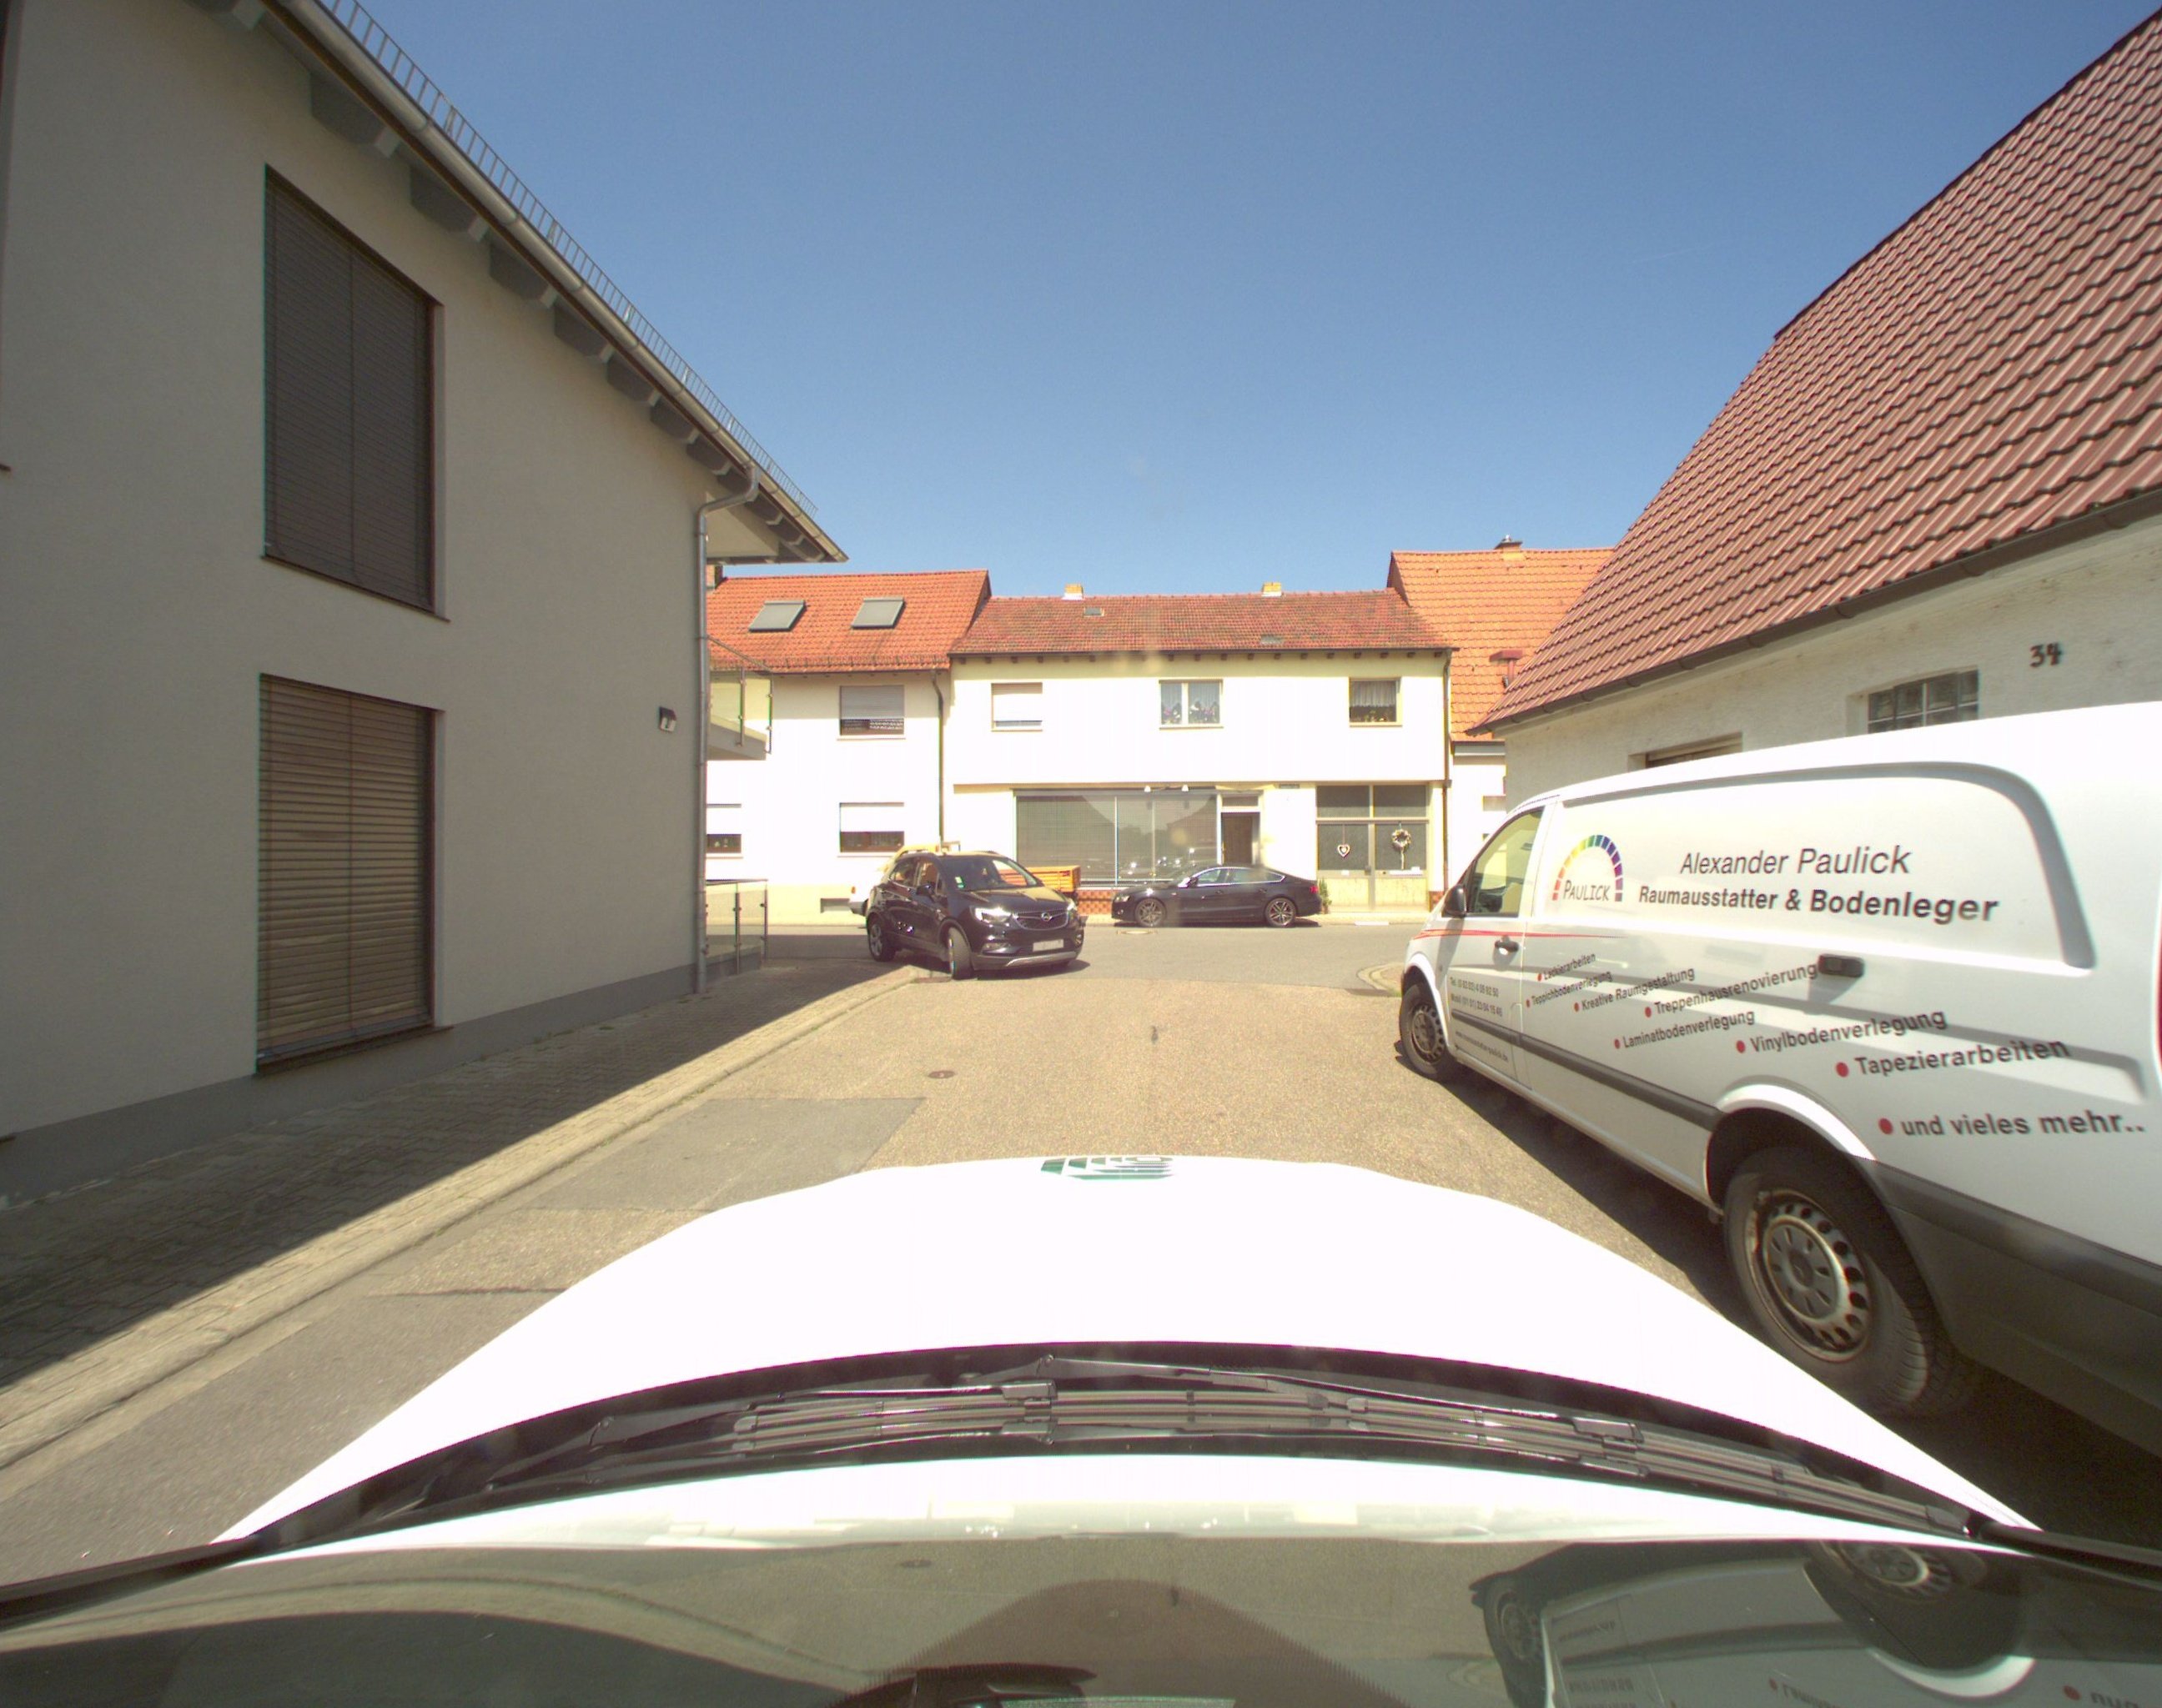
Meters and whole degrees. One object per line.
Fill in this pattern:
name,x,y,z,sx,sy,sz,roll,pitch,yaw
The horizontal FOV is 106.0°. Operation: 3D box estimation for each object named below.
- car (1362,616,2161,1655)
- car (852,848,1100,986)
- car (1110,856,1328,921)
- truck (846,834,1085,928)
car,3.105,0.505,3.963,2.004,1.839,5.271,0,0,4
car,-1.711,0.769,11.840,1.770,1.583,4.234,-2,0,-35
car,2.980,0.792,18.340,4.598,1.394,1.929,0,-3,2
truck,-2.504,0.591,18.657,5.040,2.014,2.192,0,-1,4
